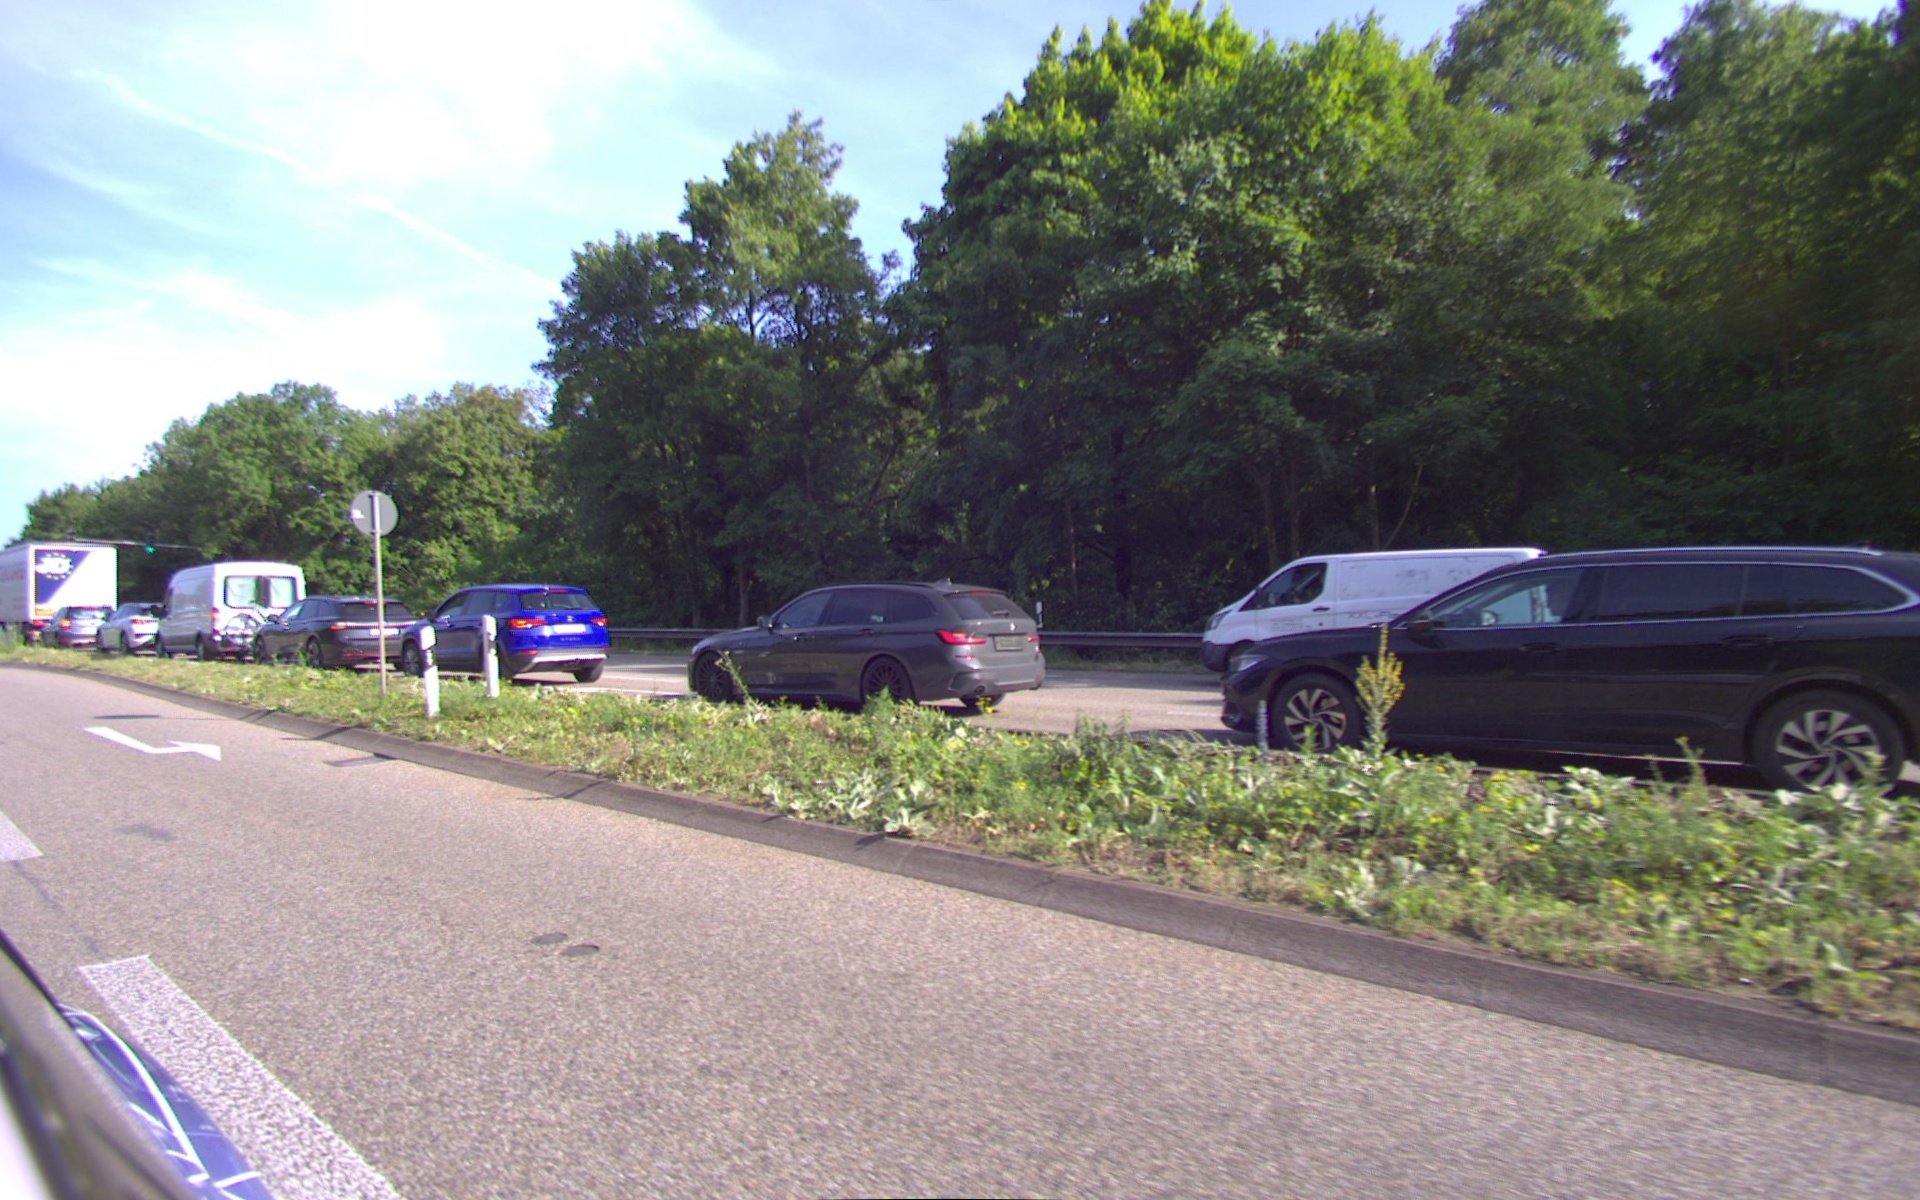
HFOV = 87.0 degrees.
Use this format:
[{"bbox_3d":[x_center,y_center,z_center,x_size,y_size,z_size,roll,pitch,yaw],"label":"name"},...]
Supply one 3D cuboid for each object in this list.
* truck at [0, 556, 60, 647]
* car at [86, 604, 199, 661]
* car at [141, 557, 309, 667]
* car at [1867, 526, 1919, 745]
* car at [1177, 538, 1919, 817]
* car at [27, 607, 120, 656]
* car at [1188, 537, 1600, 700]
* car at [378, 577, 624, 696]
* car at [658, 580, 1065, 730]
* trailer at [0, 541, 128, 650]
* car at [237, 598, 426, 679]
[{"bbox_3d":[-44.799,0.120,47.248,6.712,4.027,2.864,-2,1,38],"label":"truck"},{"bbox_3d":[-25.190,0.989,31.140,4.741,1.644,1.684,-2,-2,38],"label":"car"},{"bbox_3d":[-19.124,0.348,26.209,6.157,2.553,2.054,-2,-2,40],"label":"car"},{"bbox_3d":[9.295,0.264,7.581,3.571,1.719,1.609,-2,-3,39],"label":"car"},{"bbox_3d":[4.249,0.445,6.919,5.187,1.434,1.753,-2,-2,39],"label":"car"},{"bbox_3d":[-31.240,1.100,35.621,4.364,1.644,1.684,-2,-2,38],"label":"car"},{"bbox_3d":[6.044,0.331,14.520,5.097,1.950,1.991,-2,-4,39],"label":"car"},{"bbox_3d":[-7.617,0.576,16.550,4.795,1.682,1.753,-2,-2,39],"label":"car"},{"bbox_3d":[-1.310,0.572,11.611,4.838,1.390,1.753,-2,-2,39],"label":"car"},{"bbox_3d":[-39.020,-0.050,42.750,13.995,4.026,2.963,-2,1,38],"label":"trailer"},{"bbox_3d":[-12.966,0.767,20.733,5.180,1.467,1.742,-2,-2,39],"label":"car"}]
